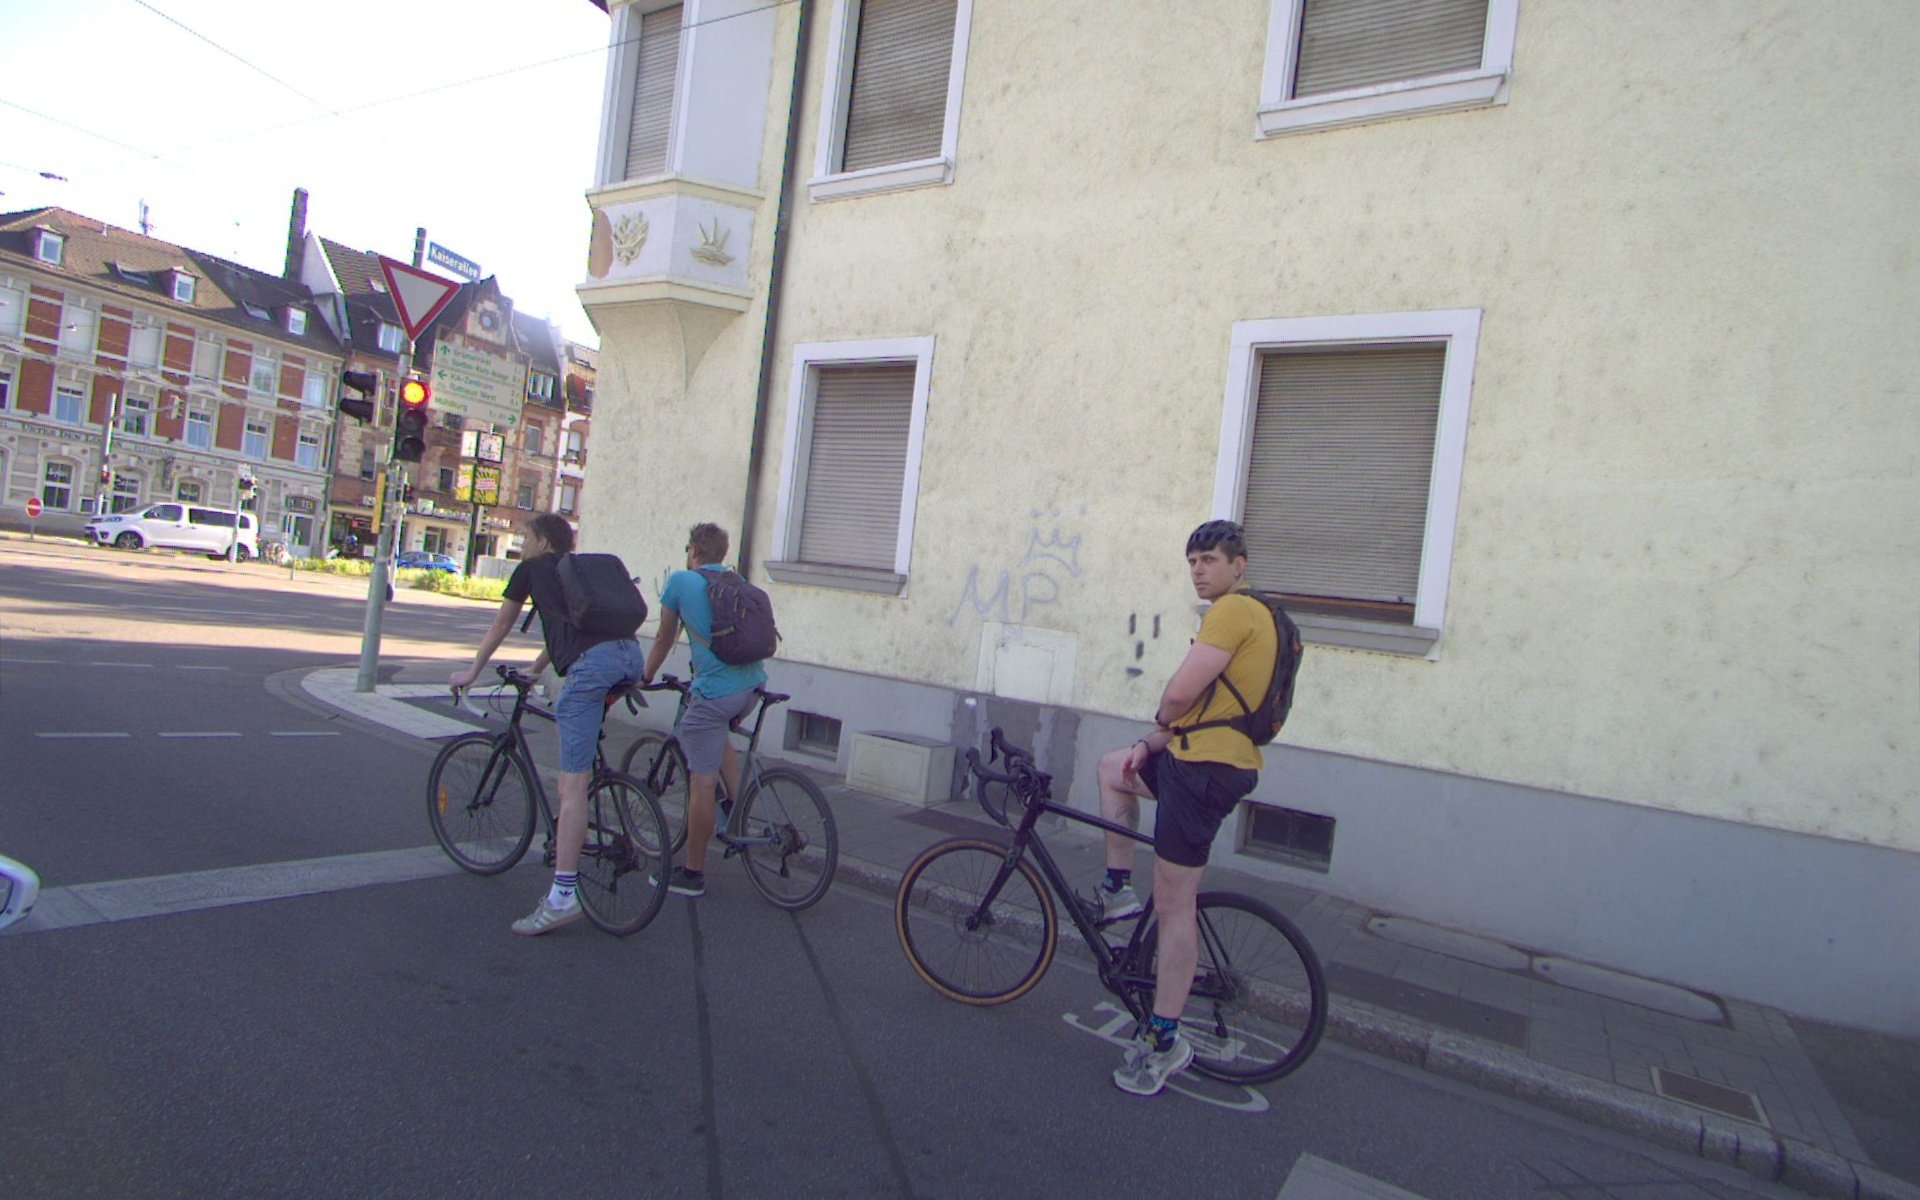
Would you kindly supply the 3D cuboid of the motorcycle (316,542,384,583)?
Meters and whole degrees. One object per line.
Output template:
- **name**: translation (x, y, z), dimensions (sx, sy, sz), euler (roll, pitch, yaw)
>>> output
- **motorcycle**: translation (-24.861, -1.516, 41.021), dimensions (0.786, 1.349, 2.132), euler (6, -2, 44)

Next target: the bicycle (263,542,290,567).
- **bicycle**: translation (-33.038, -2.211, 48.585), dimensions (0.789, 1.027, 2.186), euler (8, -2, -39)

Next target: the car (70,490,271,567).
- **car**: translation (-28.230, -2.496, 36.192), dimensions (1.967, 1.876, 5.206), euler (7, -1, 33)

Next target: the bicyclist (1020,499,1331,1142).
- **bicyclist**: translation (0.810, 0.715, 3.688), dimensions (0.763, 1.990, 0.783), euler (7, 0, 18)

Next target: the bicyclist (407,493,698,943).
- **bicyclist**: translation (-1.837, 0.476, 4.542), dimensions (0.920, 1.787, 0.590), euler (6, -1, 32)

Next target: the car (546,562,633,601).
- **car**: translation (-18.723, -0.920, 51.019), dimensions (1.569, 1.443, 3.876), euler (7, -1, 32)

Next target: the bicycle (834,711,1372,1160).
- **bicycle**: translation (0.532, 1.122, 3.793), dimensions (1.709, 1.119, 0.783), euler (7, -1, 18)

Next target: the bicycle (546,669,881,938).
- **bicycle**: translation (-1.318, 0.973, 5.217), dimensions (1.753, 0.995, 0.504), euler (6, -1, 32)

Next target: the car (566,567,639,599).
- **car**: translation (-23.118, -1.091, 65.184), dimensions (1.842, 1.454, 3.985), euler (6, -2, 35)

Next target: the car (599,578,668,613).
- **car**: translation (-19.965, -0.268, 61.624), dimensions (1.749, 1.636, 3.604), euler (6, -2, 30)

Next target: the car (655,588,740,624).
- **car**: translation (-15.571, 0.385, 59.842), dimensions (1.774, 1.487, 4.866), euler (8, -1, 32)

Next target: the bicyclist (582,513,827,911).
- **bicyclist**: translation (-1.342, 0.536, 5.266), dimensions (0.960, 1.868, 0.504), euler (6, -1, 32)

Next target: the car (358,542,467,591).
- **car**: translation (-25.440, -1.553, 46.885), dimensions (1.775, 1.641, 3.994), euler (6, -2, 33)

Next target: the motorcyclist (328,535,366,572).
- **motorcyclist**: translation (-24.928, -1.887, 40.912), dimensions (0.779, 1.315, 1.013), euler (6, -2, 44)

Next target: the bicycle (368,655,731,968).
- **bicycle**: translation (-1.902, 0.863, 4.550), dimensions (1.753, 1.003, 0.482), euler (6, -1, 32)
